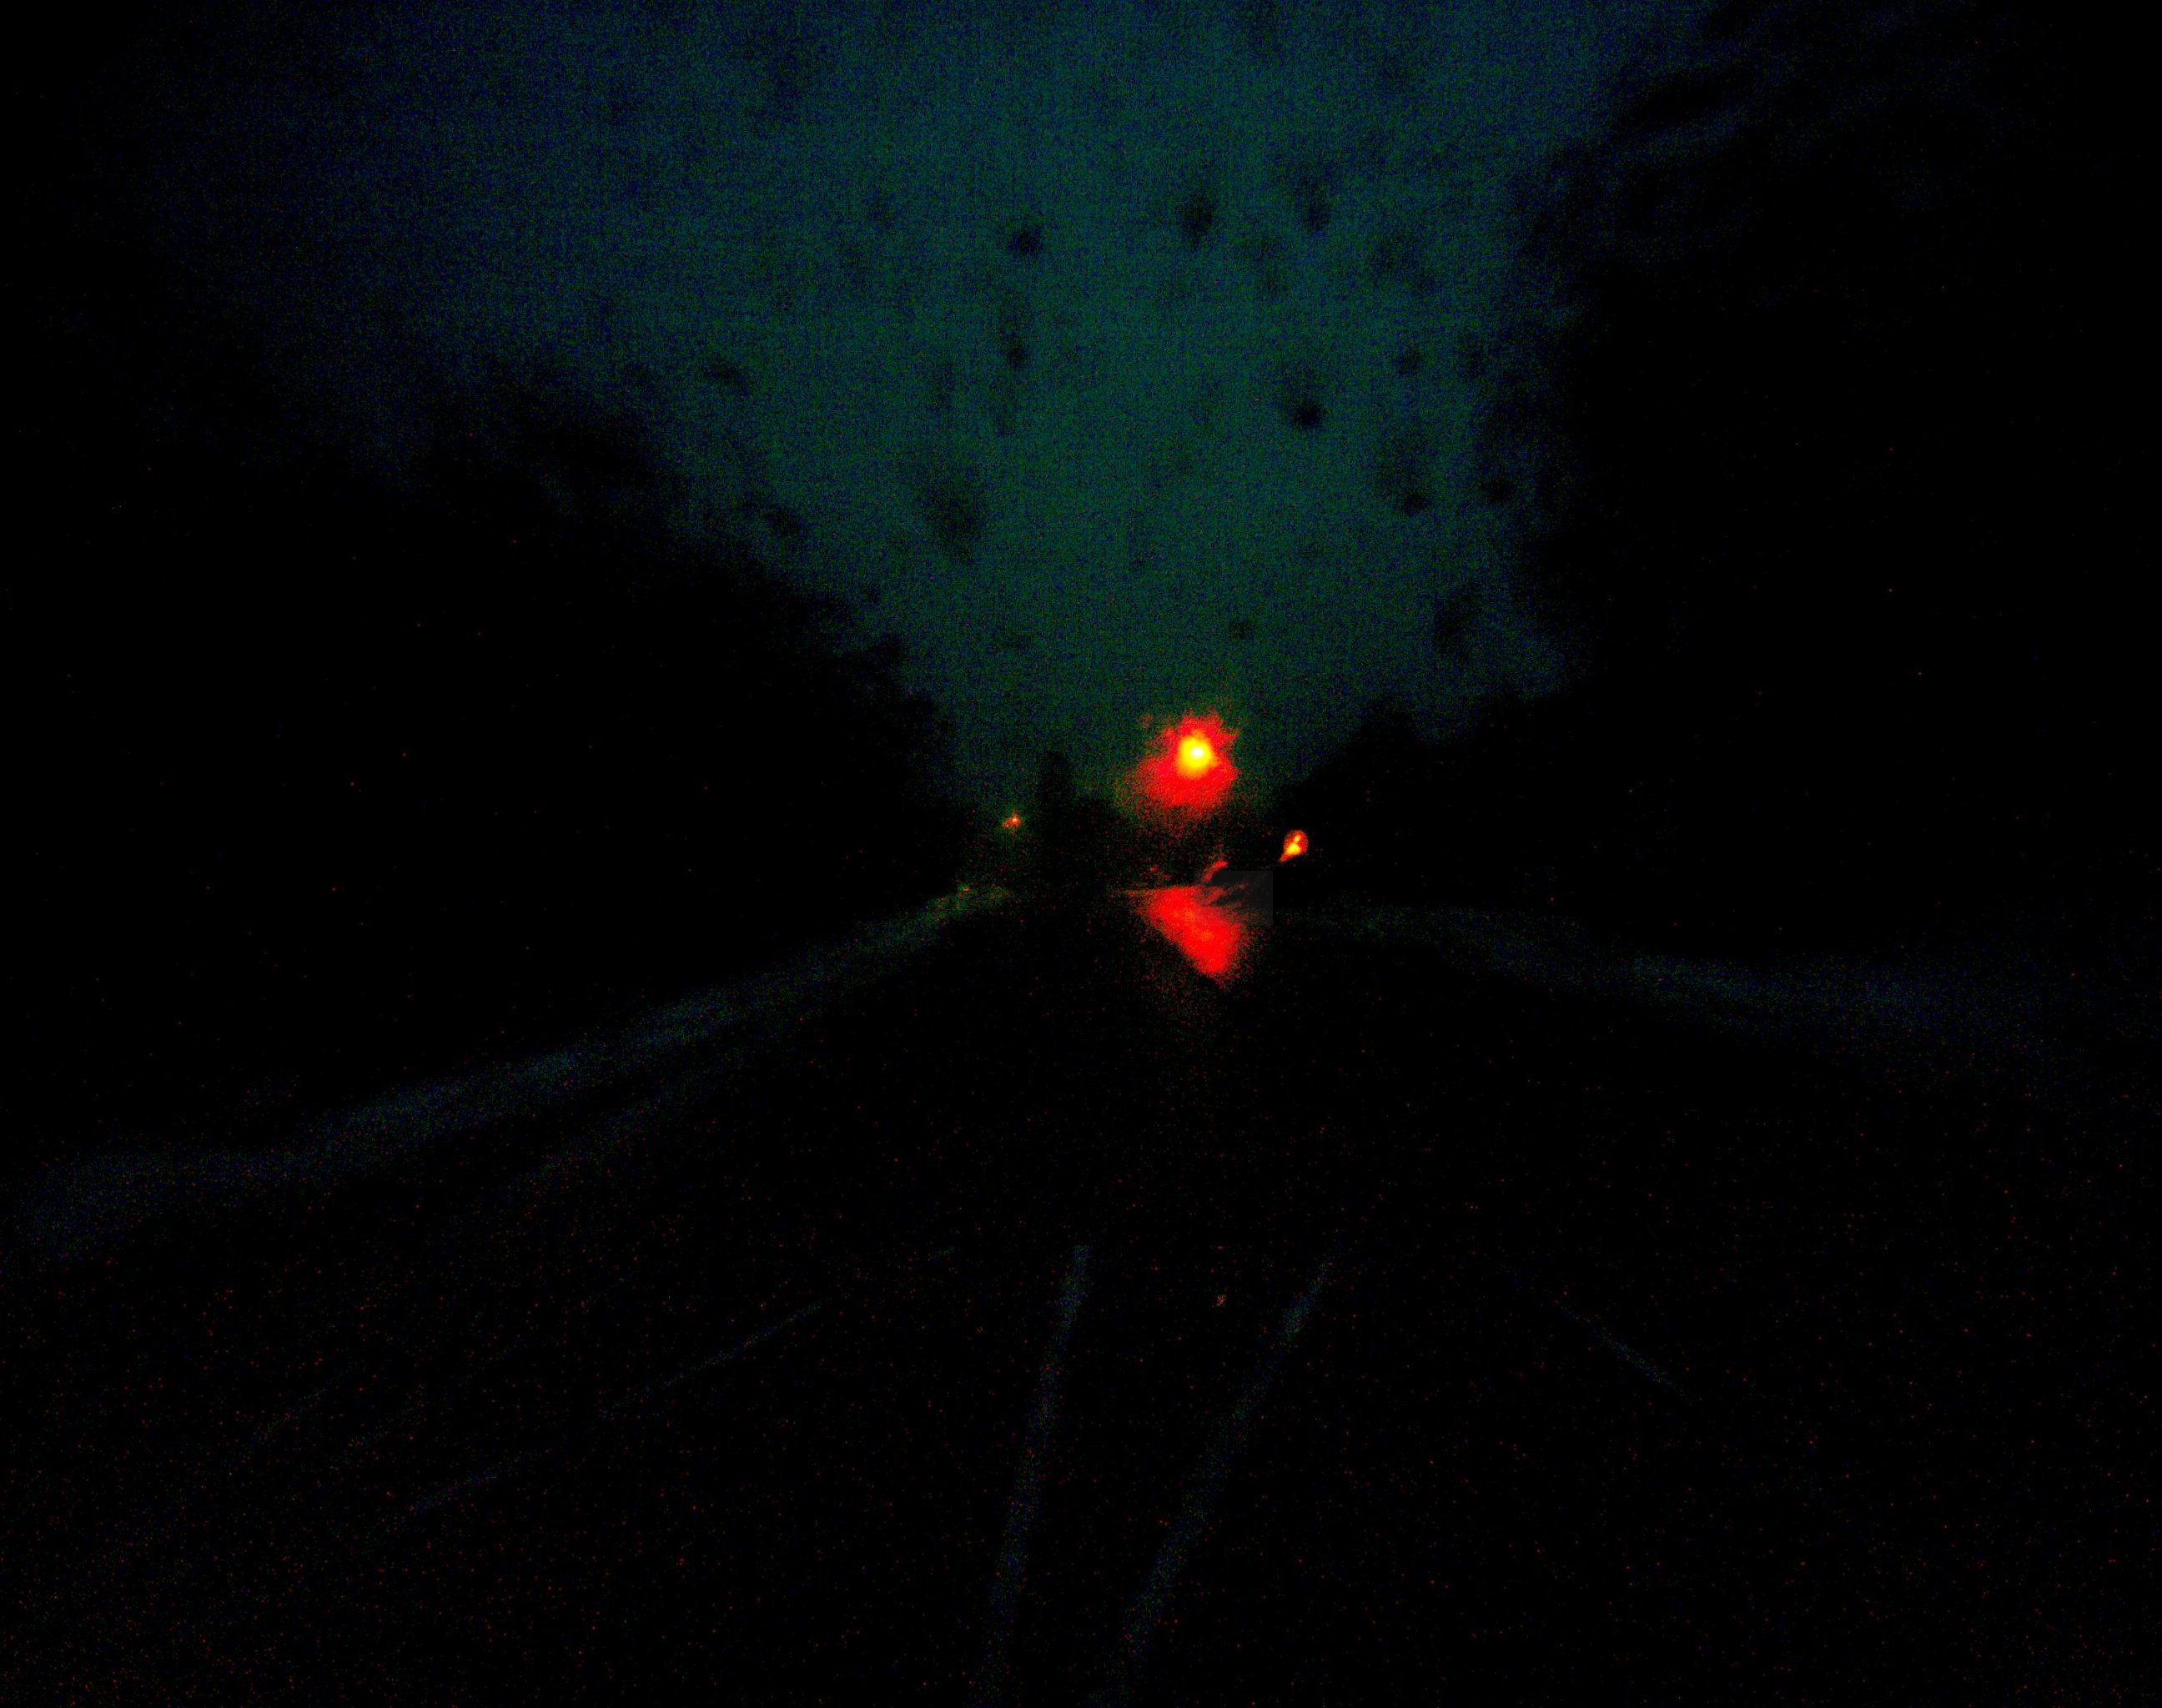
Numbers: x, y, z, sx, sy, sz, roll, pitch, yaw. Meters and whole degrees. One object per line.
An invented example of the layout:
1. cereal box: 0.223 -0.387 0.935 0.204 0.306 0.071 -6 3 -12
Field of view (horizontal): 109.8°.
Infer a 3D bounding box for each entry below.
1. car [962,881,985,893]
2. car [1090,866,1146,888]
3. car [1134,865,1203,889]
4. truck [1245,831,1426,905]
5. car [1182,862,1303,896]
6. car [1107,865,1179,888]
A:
1. car: -15.411 4.784 108.593 1.885 1.417 5.386 -3 -3 -22
2. car: 2.811 1.794 58.946 2.003 1.556 4.987 2 -2 -28
3. car: 5.469 1.468 47.674 3.869 1.462 1.937 0 -2 -15
4. truck: 8.225 0.488 24.692 5.280 2.288 1.998 1 -2 -11
5. car: 7.276 1.122 34.453 4.904 1.476 2.122 1 -2 -11
6. car: 4.328 1.601 53.381 4.546 1.556 2.108 1 -2 -19
